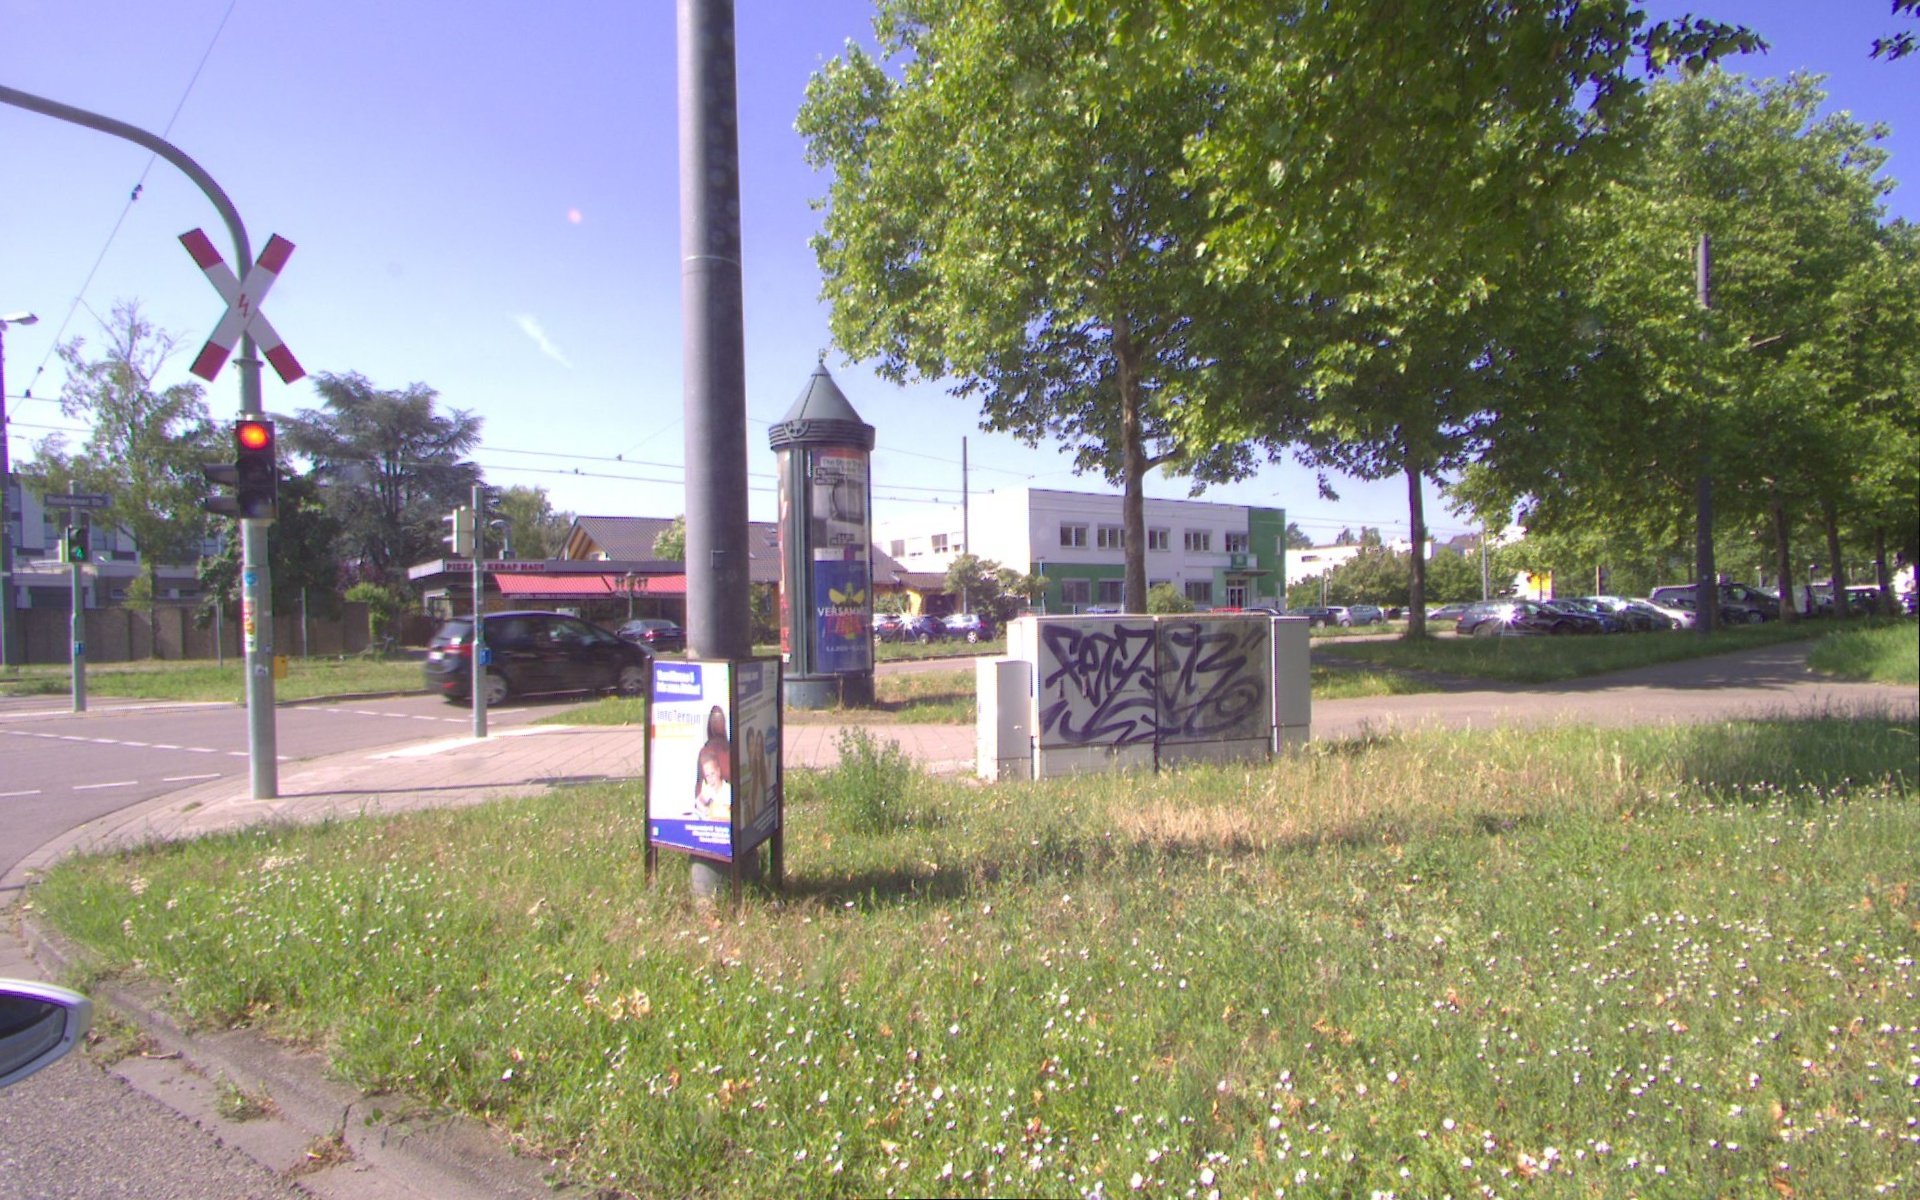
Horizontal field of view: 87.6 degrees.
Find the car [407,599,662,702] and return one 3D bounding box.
[{"bbox_3d":[-7.692,0.861,18.341,1.775,1.676,3.963,-1,-1,44],"label":"car"}]

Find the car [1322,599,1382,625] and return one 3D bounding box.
[{"bbox_3d":[28.212,0.903,72.057,3.934,1.816,1.995,-1,-2,24],"label":"car"}]

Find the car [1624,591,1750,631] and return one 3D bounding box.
[{"bbox_3d":[32.004,0.494,44.153,4.309,1.654,1.982,-1,0,44],"label":"car"}]

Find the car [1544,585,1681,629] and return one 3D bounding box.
[{"bbox_3d":[25.942,0.308,39.896,4.309,1.654,1.982,-1,-2,44],"label":"car"}]

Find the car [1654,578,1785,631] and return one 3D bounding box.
[{"bbox_3d":[35.095,0.220,46.351,1.978,2.320,4.550,-1,0,-41],"label":"car"}]

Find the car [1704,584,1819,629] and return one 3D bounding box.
[{"bbox_3d":[41.691,0.371,52.130,4.542,2.238,1.982,-1,0,44],"label":"car"}]

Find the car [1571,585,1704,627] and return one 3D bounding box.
[{"bbox_3d":[27.957,0.260,41.410,4.309,1.654,1.982,-1,0,44],"label":"car"}]

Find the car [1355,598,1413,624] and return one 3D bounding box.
[{"bbox_3d":[31.462,0.843,74.311,3.934,1.816,1.995,-1,-2,24],"label":"car"}]

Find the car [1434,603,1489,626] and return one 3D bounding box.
[{"bbox_3d":[41.591,1.217,83.092,3.934,1.816,1.995,-1,-2,24],"label":"car"}]

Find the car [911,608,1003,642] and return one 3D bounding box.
[{"bbox_3d":[-0.168,1.282,50.585,4.139,1.640,2.136,-1,-1,26],"label":"car"}]

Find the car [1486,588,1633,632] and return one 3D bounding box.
[{"bbox_3d":[21.857,0.395,36.598,4.309,1.510,1.982,-1,0,44],"label":"car"}]

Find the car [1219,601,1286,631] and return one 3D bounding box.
[{"bbox_3d":[18.866,1.050,64.585,3.934,1.816,1.995,-1,-2,24],"label":"car"}]

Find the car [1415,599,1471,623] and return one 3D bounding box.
[{"bbox_3d":[38.909,0.929,80.802,3.934,1.816,1.995,-1,-2,24],"label":"car"}]

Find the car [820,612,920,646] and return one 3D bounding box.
[{"bbox_3d":[-4.222,1.365,46.917,4.139,1.518,2.136,-2,-1,26],"label":"car"}]

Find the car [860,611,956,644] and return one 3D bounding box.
[{"bbox_3d":[-2.520,1.327,48.725,4.139,1.518,2.136,-2,-1,26],"label":"car"}]

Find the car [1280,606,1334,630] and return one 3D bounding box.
[{"bbox_3d":[23.549,1.222,68.070,3.383,1.556,1.565,-1,0,18],"label":"car"}]

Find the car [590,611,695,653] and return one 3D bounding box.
[{"bbox_3d":[-12.909,1.322,40.516,2.121,1.518,5.073,-1,-2,-43],"label":"car"}]

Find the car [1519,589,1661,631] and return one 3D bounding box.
[{"bbox_3d":[24.035,0.410,38.274,4.309,1.510,1.982,-1,0,44],"label":"car"}]

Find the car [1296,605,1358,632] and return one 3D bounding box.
[{"bbox_3d":[25.847,1.326,70.524,3.934,1.816,1.995,-1,-2,24],"label":"car"}]

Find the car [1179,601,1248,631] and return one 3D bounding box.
[{"bbox_3d":[16.023,1.064,63.198,3.934,1.816,1.995,-1,-2,24],"label":"car"}]

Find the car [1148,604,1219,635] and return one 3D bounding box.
[{"bbox_3d":[13.715,1.214,61.500,3.934,1.816,1.995,-1,-2,24],"label":"car"}]

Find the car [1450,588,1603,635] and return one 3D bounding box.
[{"bbox_3d":[19.754,0.414,35.013,4.310,1.510,1.982,-2,-1,44],"label":"car"}]
